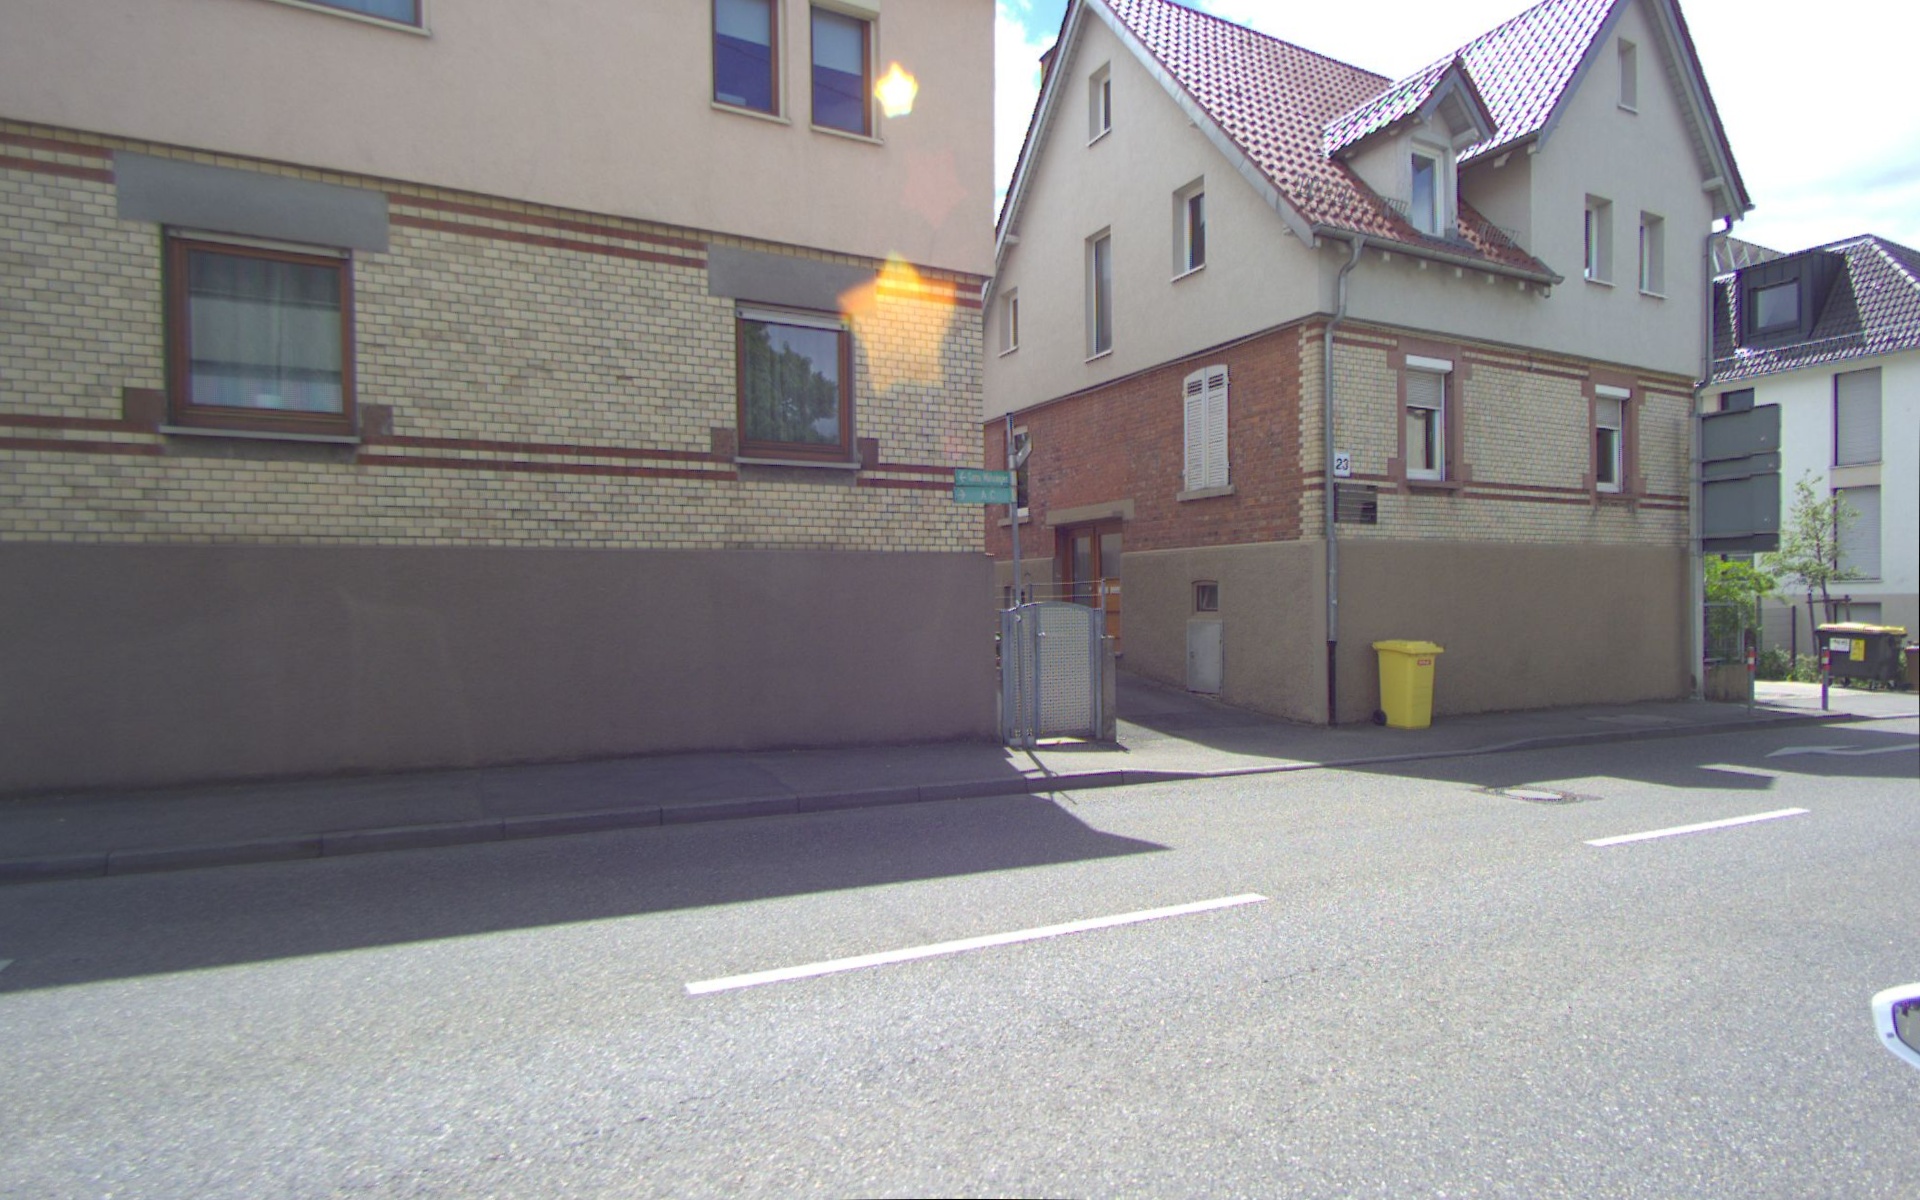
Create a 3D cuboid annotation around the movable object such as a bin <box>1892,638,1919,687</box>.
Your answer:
[{"bbox_3d":[20.294,1.320,21.268,0.649,1.014,0.638,1,0,-29],"label":"movable object such as a bin"}]

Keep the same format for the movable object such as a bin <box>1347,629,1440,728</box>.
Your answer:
[{"bbox_3d":[5.514,0.977,12.800,0.793,1.177,0.761,1,0,-31],"label":"movable object such as a bin"}]

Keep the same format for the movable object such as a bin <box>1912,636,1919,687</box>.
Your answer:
[{"bbox_3d":[20.978,1.328,21.551,0.653,1.089,0.637,1,0,-31],"label":"movable object such as a bin"}]

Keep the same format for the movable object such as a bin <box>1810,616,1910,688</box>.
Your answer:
[{"bbox_3d":[19.292,1.090,21.544,1.158,1.465,1.327,1,0,-32],"label":"movable object such as a bin"}]
